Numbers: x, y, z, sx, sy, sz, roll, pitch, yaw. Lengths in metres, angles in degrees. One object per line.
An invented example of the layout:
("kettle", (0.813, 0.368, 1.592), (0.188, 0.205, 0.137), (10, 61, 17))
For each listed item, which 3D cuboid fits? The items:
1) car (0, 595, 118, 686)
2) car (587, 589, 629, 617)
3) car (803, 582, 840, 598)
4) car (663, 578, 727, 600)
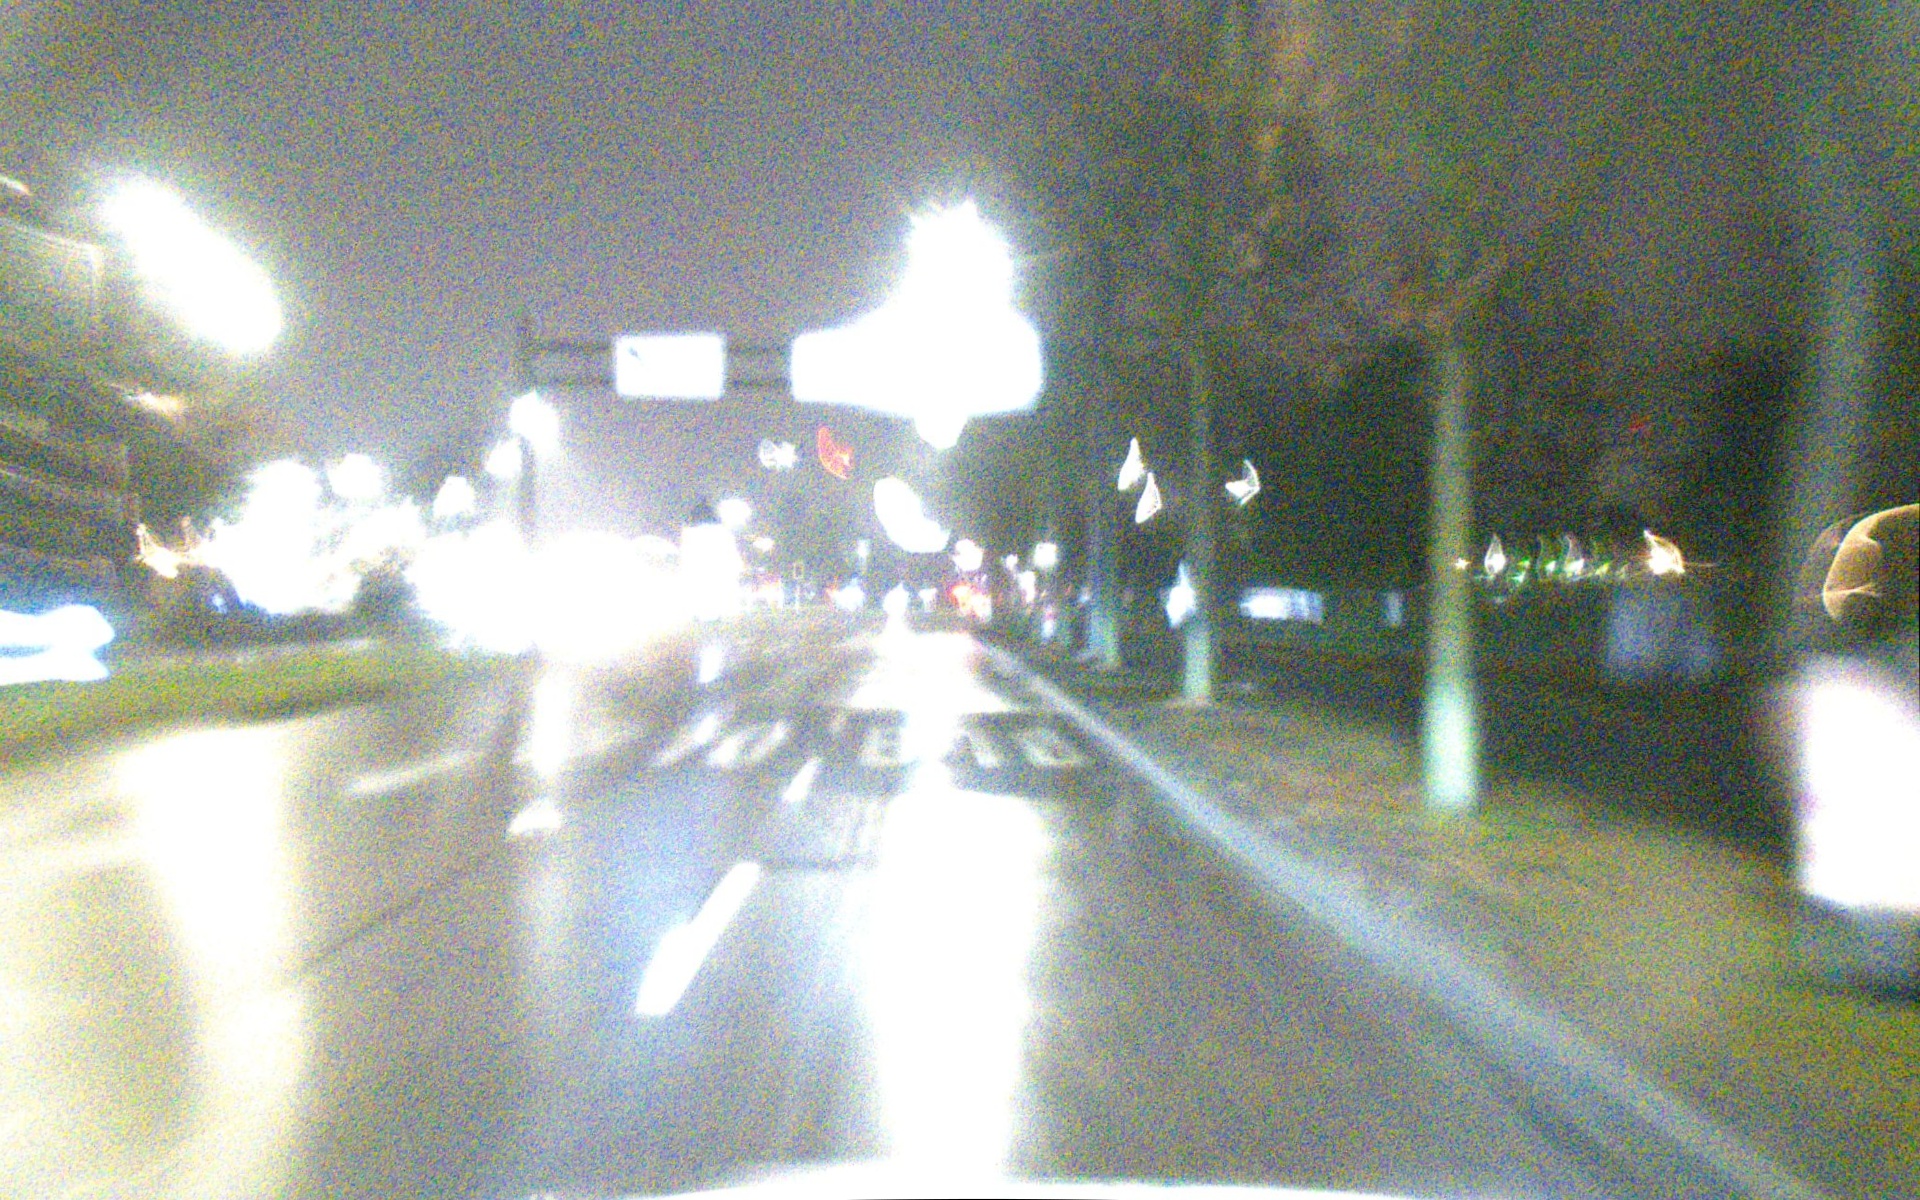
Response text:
("car", (-19.830, 0.787, 34.796), (1.983, 1.713, 4.547), (1, 1, -2))
("car", (-22.375, 0.172, 105.194), (1.792, 1.743, 4.440), (1, 1, -1))
("car", (-14.619, -1.099, 174.833), (3.874, 1.606, 1.736), (1, 1, -4))
("car", (-27.653, -1.131, 172.724), (6.216, 2.125, 2.495), (1, 1, -26))
